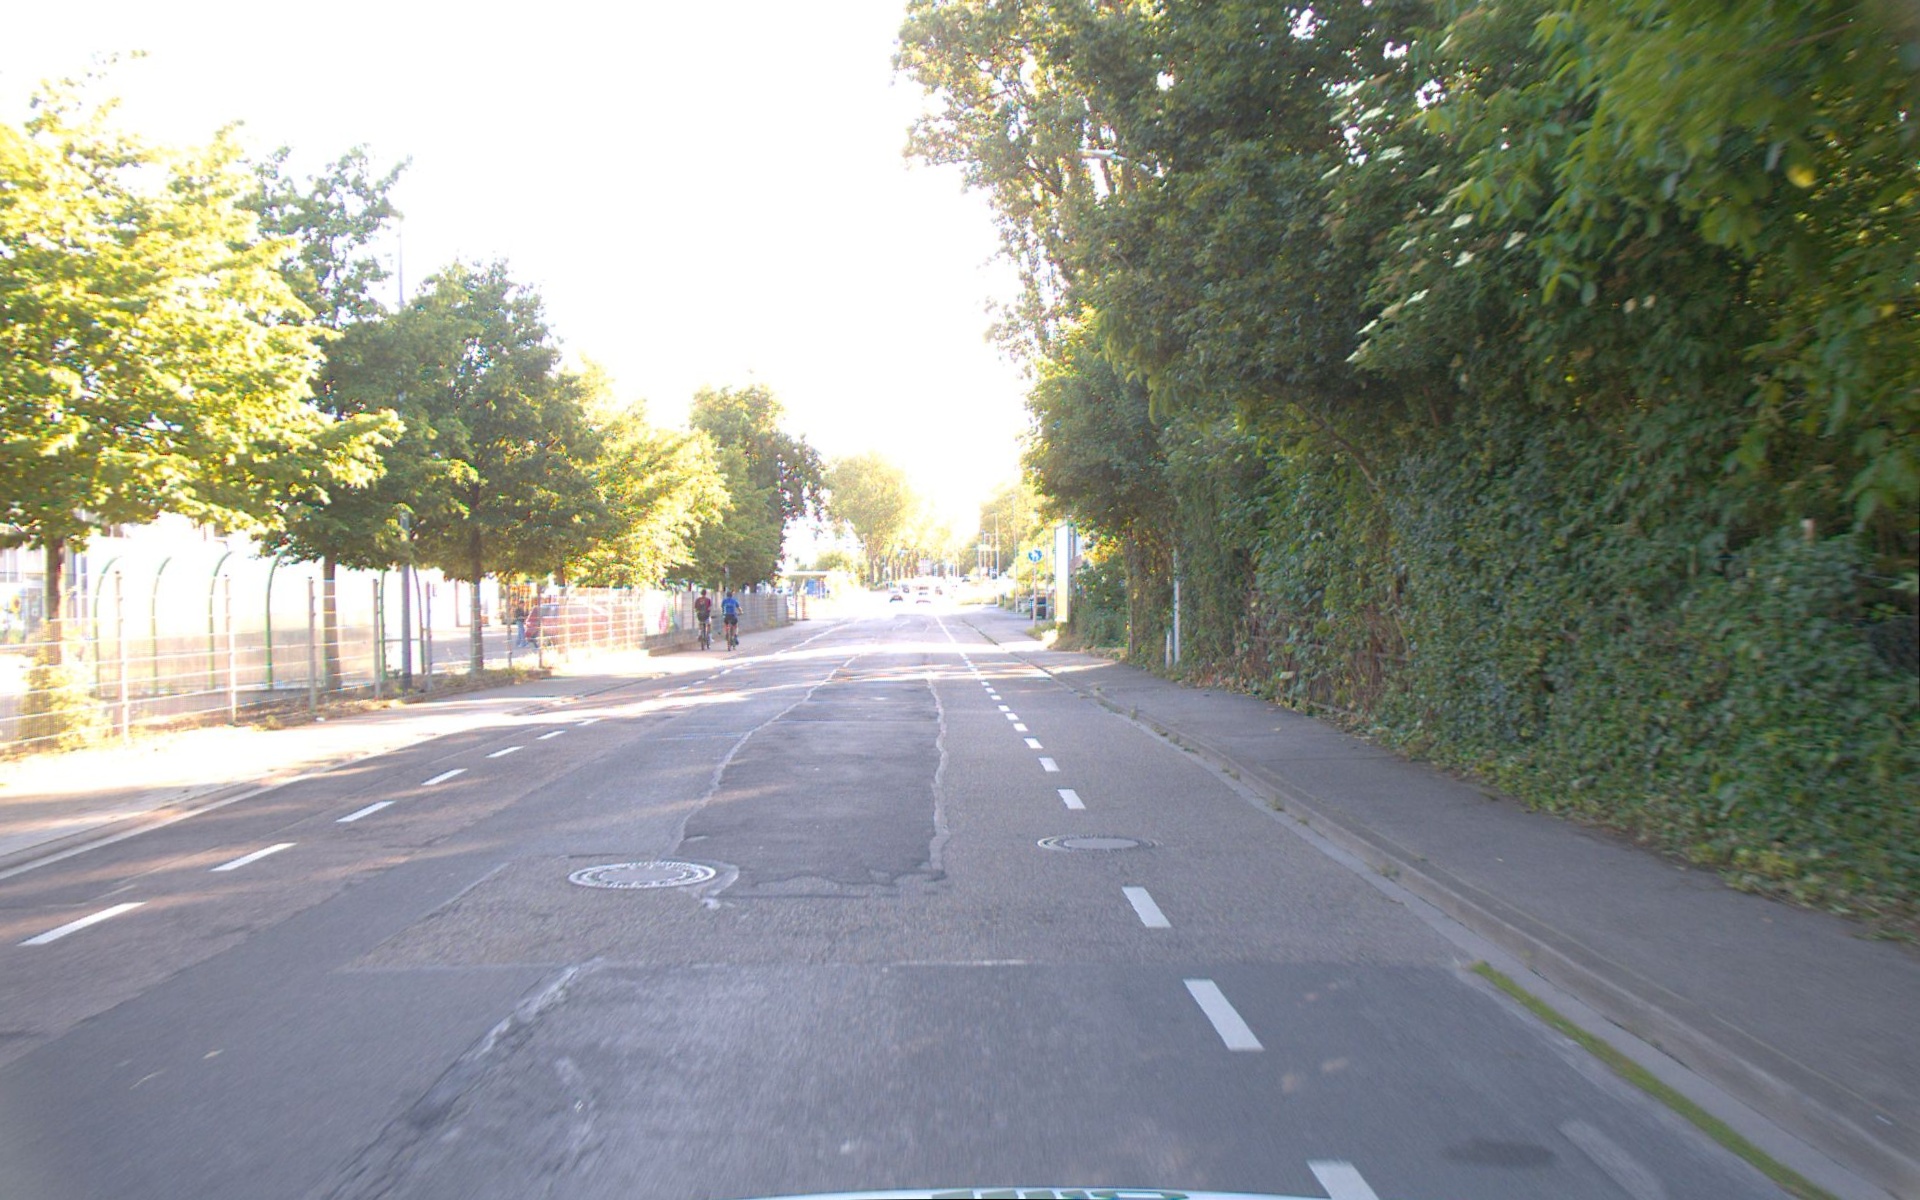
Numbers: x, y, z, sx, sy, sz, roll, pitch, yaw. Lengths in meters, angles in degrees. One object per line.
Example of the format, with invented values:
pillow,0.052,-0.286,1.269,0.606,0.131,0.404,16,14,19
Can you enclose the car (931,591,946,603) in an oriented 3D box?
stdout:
car,-3.104,-0.430,236.674,2.120,1.713,3.999,-1,0,-1

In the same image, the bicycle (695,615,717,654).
bicycle,-7.976,1.069,52.016,0.460,1.168,1.869,0,0,-1

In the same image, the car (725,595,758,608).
car,-29.635,0.193,224.362,4.235,1.646,1.877,-1,0,-2

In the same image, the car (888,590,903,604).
car,-7.862,-0.403,202.077,1.706,1.552,4.110,-5,0,-2

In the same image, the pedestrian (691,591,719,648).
pedestrian,-8.013,0.613,52.047,0.706,1.751,1.057,-1,0,-1

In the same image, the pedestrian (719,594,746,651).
pedestrian,-7.144,0.689,51.995,0.706,1.751,1.057,-1,0,-1

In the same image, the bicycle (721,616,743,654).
bicycle,-7.148,1.087,51.929,0.437,1.168,2.200,0,0,-1

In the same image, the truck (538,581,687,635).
truck,-24.349,0.589,116.176,9.896,3.678,2.774,0,-1,-3

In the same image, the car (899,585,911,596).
car,-8.427,-1.483,253.665,1.620,1.529,3.999,-2,0,-1

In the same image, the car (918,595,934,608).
car,-3.875,0.203,188.687,1.753,1.445,4.000,0,1,0

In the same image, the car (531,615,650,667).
car,-12.716,1.385,57.030,3.653,1.476,1.804,-4,0,-3

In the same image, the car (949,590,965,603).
car,-0.411,-0.507,241.728,2.121,1.713,3.997,-1,0,-4

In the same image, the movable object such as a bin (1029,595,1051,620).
movable object such as a bin,4.662,0.439,96.396,1.106,1.396,1.345,-1,0,-2
